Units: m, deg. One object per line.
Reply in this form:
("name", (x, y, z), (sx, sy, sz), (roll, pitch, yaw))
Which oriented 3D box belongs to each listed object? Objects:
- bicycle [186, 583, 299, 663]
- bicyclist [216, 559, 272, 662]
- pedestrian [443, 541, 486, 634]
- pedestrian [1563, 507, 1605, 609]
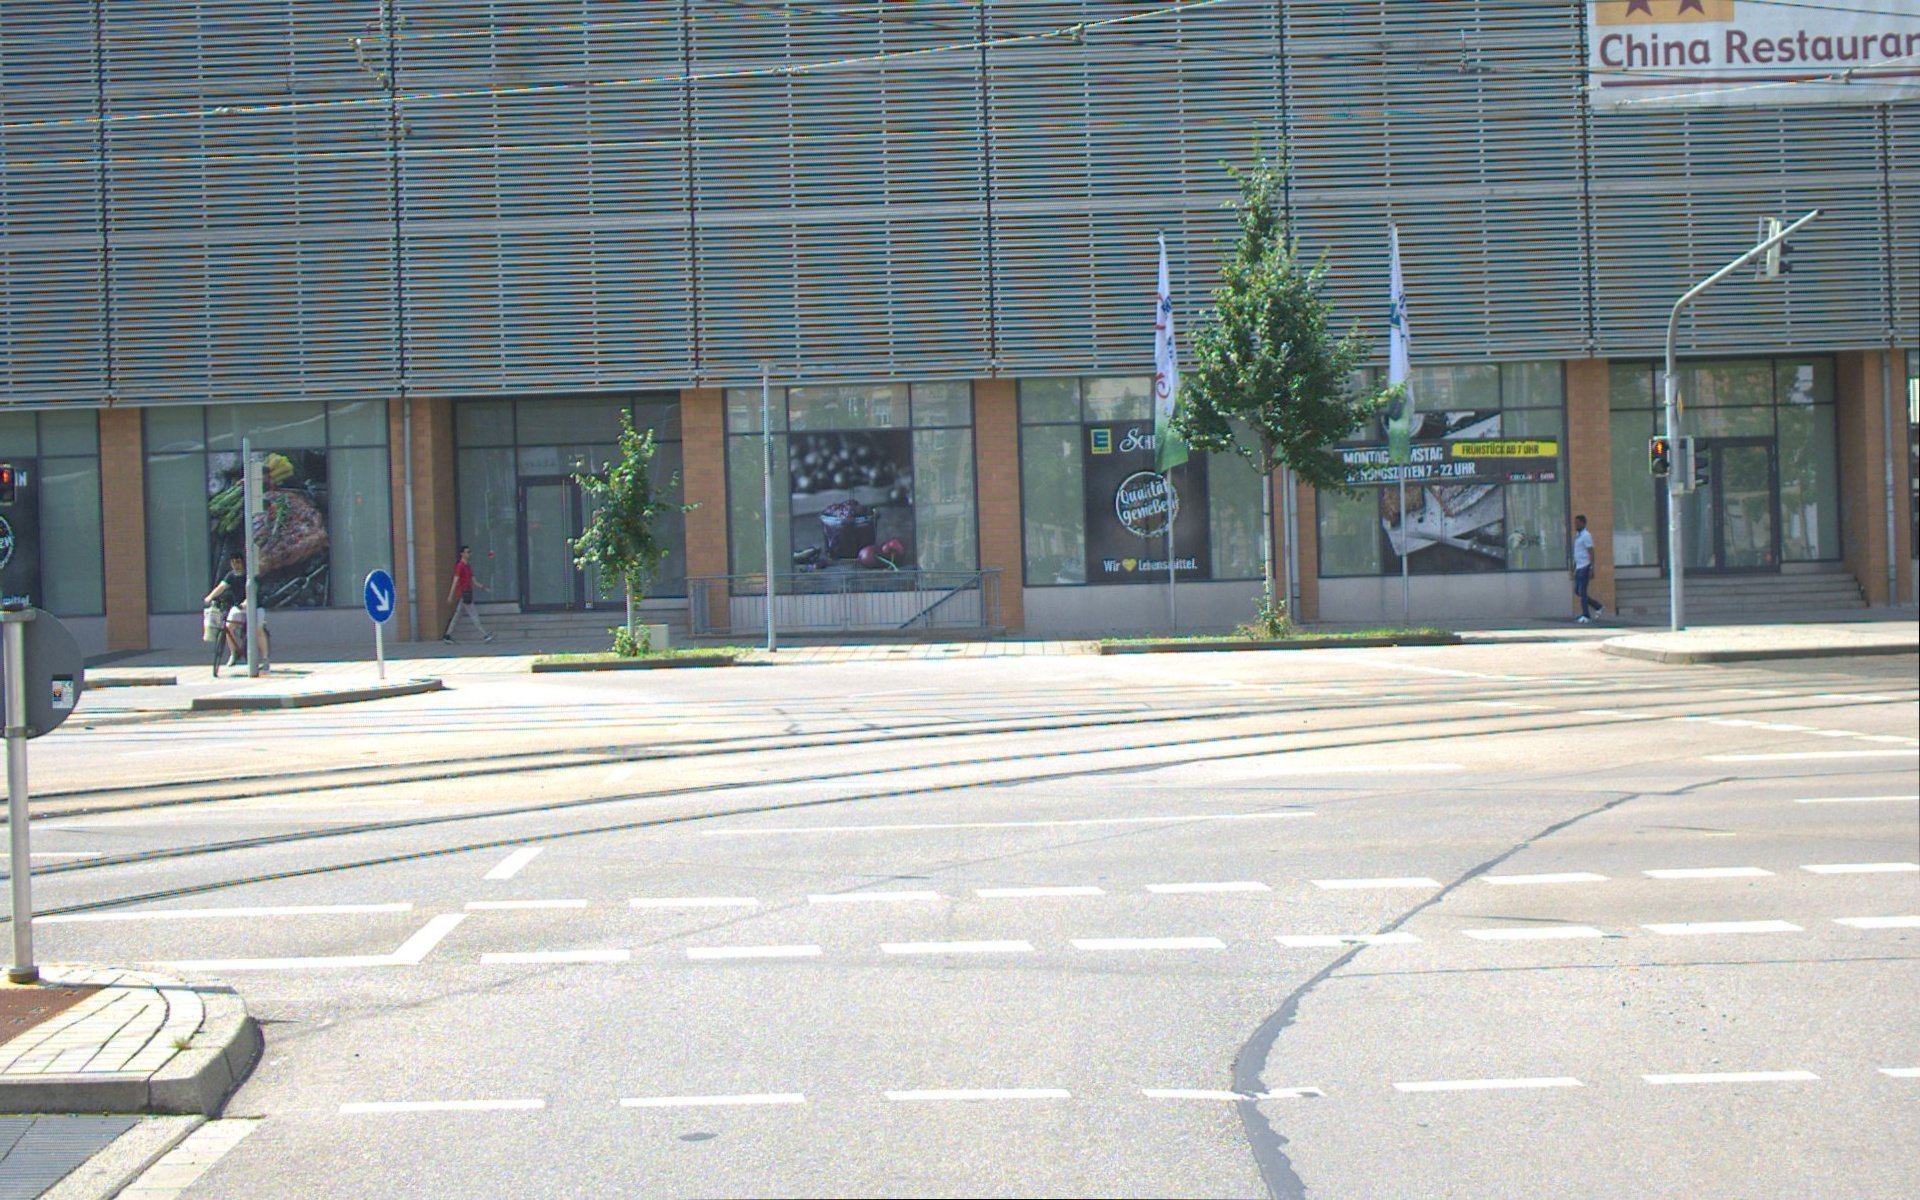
("bicycle", (-11.384, 0.352, 54.606), (0.584, 1.219, 1.762), (1, 1, 41))
("bicyclist", (-11.377, 0.155, 54.603), (0.550, 1.618, 0.663), (1, 1, 41))
("pedestrian", (-8.725, -0.224, 60.579), (0.662, 1.618, 0.517), (0, 1, 2))
("pedestrian", (10.691, -0.717, 58.879), (0.618, 1.740, 0.629), (0, 1, 1))
